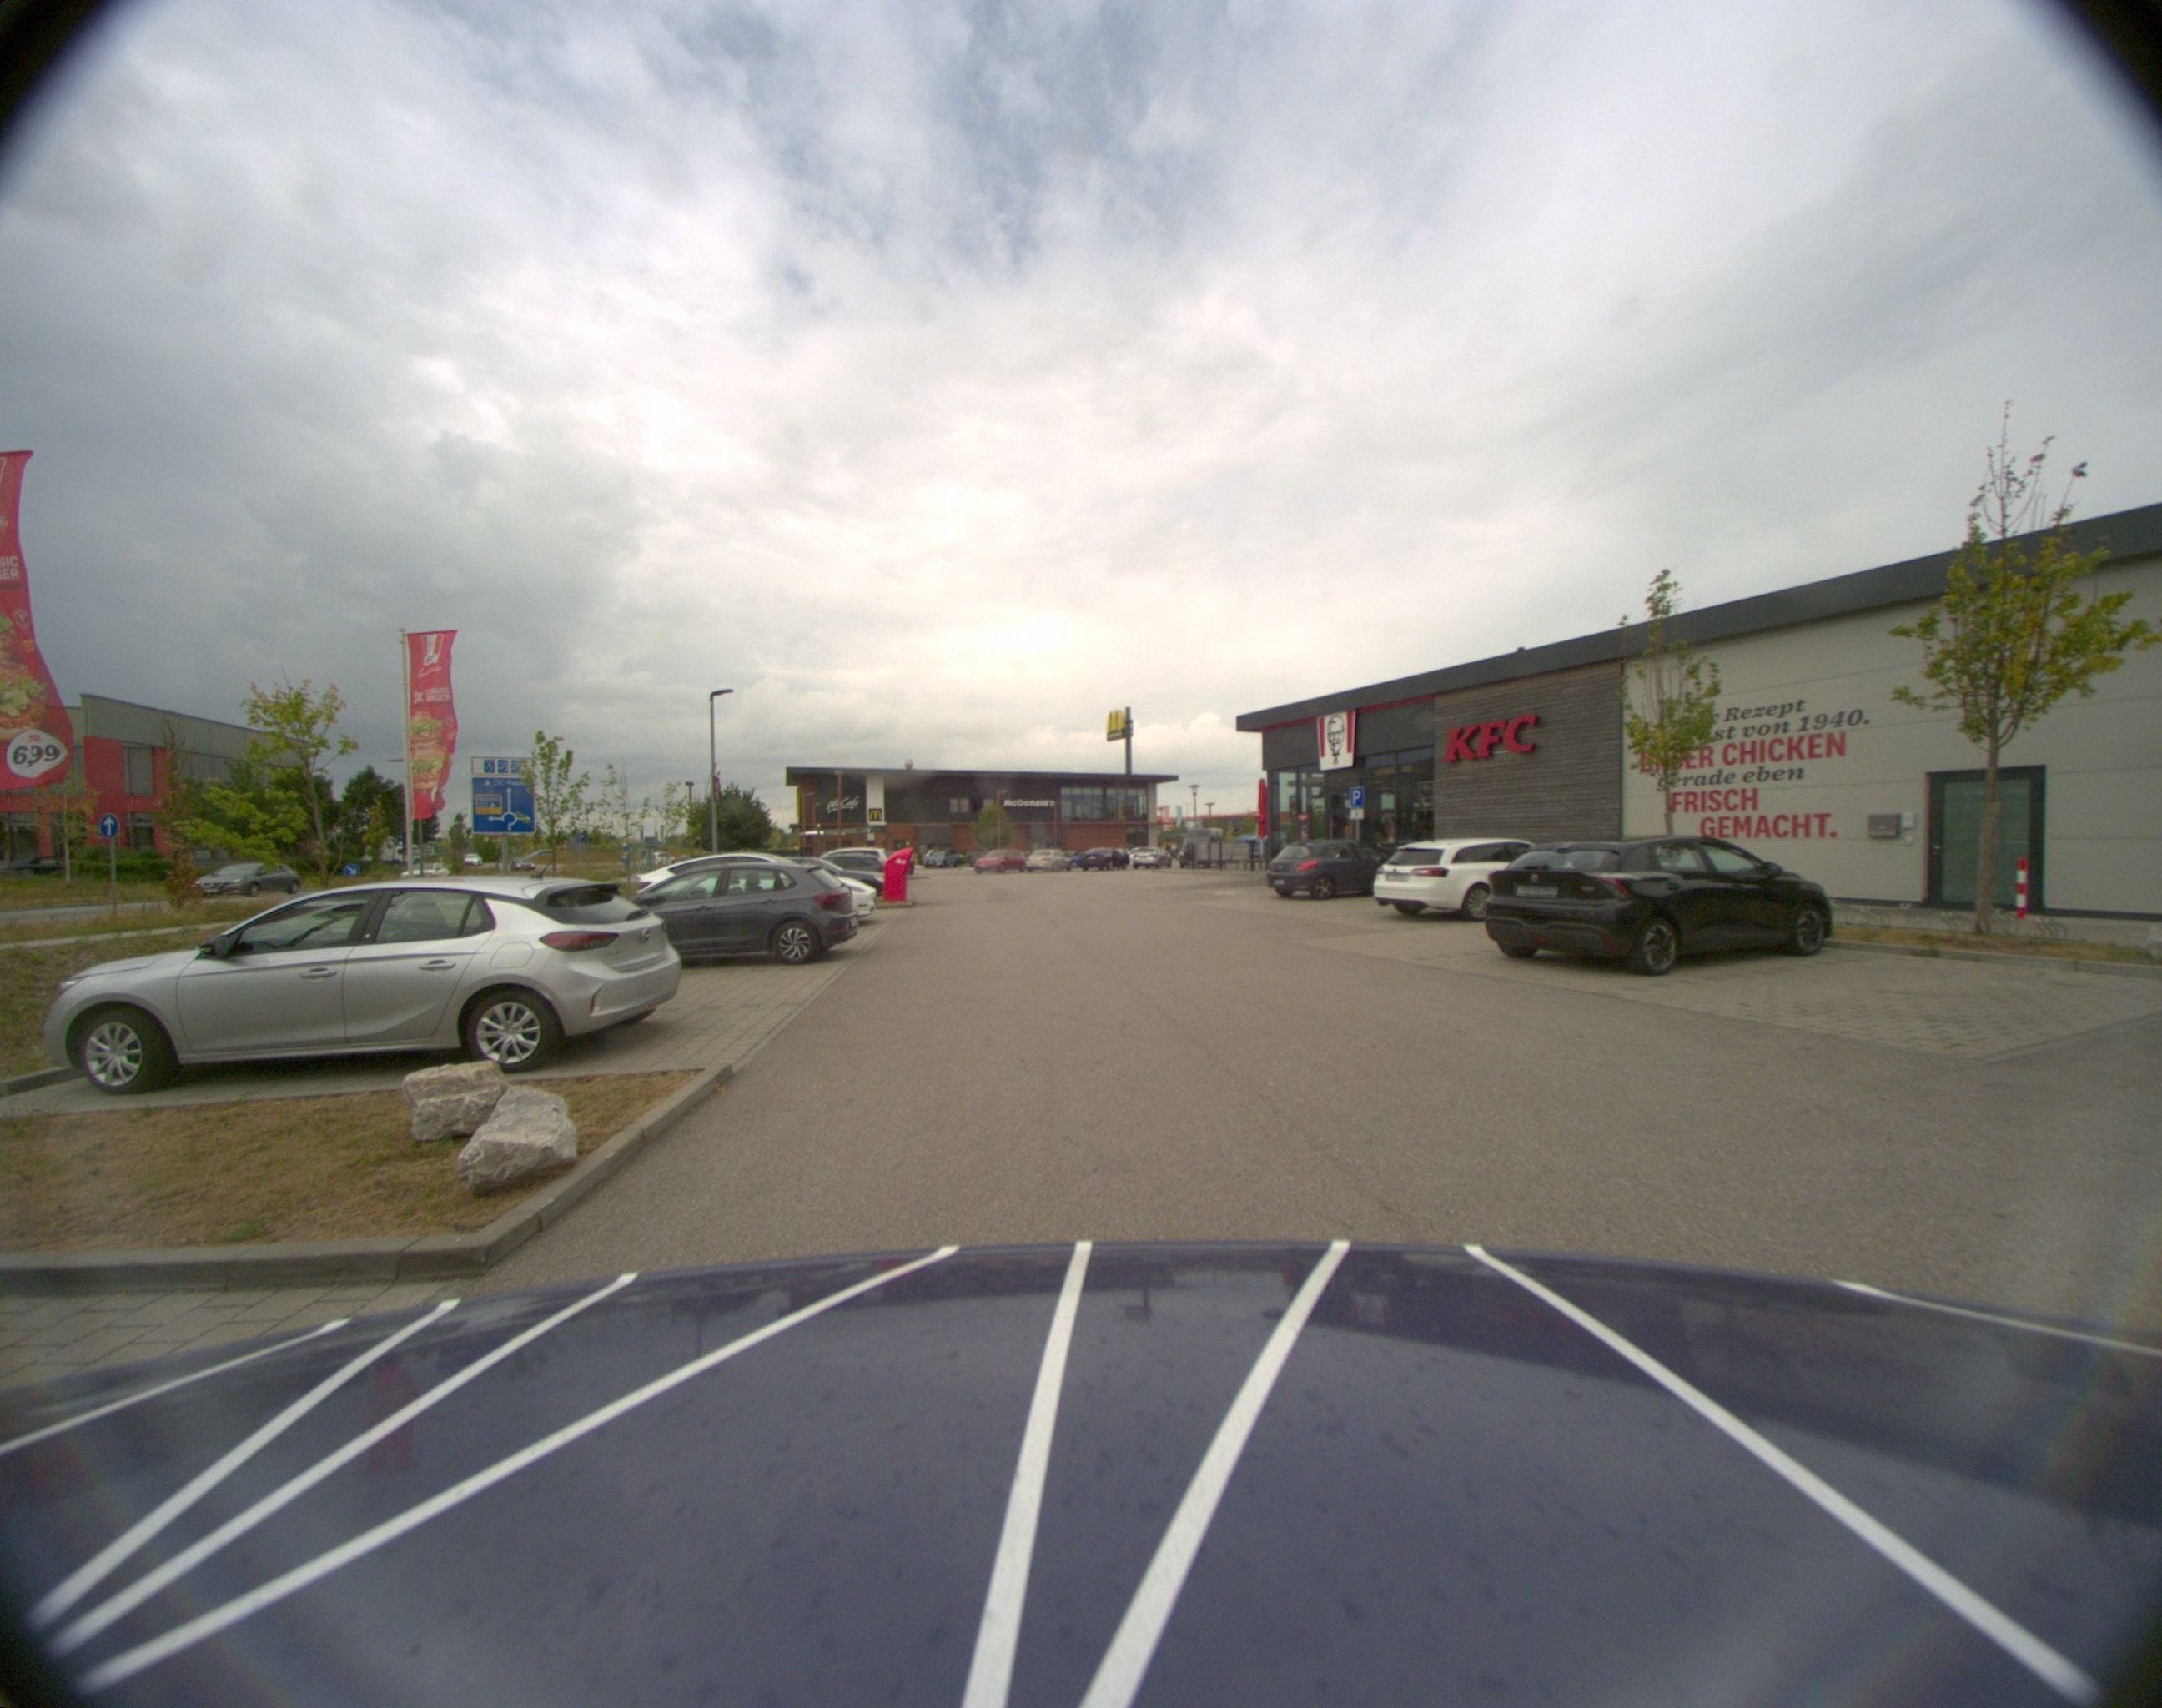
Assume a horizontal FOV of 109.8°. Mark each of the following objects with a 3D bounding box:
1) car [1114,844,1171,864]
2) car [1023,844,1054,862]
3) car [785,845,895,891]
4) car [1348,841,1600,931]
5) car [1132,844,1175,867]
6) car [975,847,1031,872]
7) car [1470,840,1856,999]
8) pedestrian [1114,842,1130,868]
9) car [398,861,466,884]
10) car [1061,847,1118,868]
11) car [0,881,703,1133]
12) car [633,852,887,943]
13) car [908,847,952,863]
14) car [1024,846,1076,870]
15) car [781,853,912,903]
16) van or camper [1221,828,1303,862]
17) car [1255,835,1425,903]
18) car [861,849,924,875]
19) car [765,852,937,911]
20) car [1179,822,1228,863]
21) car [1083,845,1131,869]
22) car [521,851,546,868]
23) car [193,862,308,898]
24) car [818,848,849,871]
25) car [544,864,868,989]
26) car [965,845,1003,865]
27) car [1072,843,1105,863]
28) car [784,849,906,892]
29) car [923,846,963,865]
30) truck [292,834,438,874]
[{"bbox_3d":[4.827,-0.005,59.728,4.102,1.458,1.783,-1,-1,19],"label":"car"},{"bbox_3d":[-4.242,-0.101,75.202,1.755,1.743,3.991,0,1,-23],"label":"car"},{"bbox_3d":[-10.443,0.556,33.126,4.375,1.703,1.989,-3,1,-17],"label":"car"},{"bbox_3d":[7.522,0.515,14.609,4.183,1.478,1.996,-1,2,-20],"label":"car"},{"bbox_3d":[4.894,0.105,50.873,1.683,1.443,4.006,-1,0,23],"label":"car"},{"bbox_3d":[-4.759,0.329,46.927,1.683,1.455,4.006,-1,0,23],"label":"car"},{"bbox_3d":[6.943,0.628,9.098,4.127,1.520,1.738,-1,2,-21],"label":"car"},{"bbox_3d":[2.638,0.052,48.924,0.747,1.668,0.844,0,1,22],"label":"pedestrian"},{"bbox_3d":[-43.851,1.224,51.420,1.756,1.482,4.125,-1,0,-13],"label":"car"},{"bbox_3d":[0.639,0.219,57.858,3.990,1.501,1.772,1,1,24],"label":"car"},{"bbox_3d":[-5.512,1.062,6.127,3.938,1.404,1.838,-3,1,-5],"label":"car"},{"bbox_3d":[-6.535,0.830,16.022,4.546,1.532,1.923,-3,1,-10],"label":"car"},{"bbox_3d":[-14.731,0.119,74.203,4.005,1.497,1.785,0,1,-22],"label":"car"},{"bbox_3d":[-1.880,0.229,47.638,1.750,1.404,4.466,-1,0,18],"label":"car"},{"bbox_3d":[-7.976,0.764,26.013,4.073,1.404,1.885,-3,1,-17],"label":"car"},{"bbox_3d":[15.671,-0.757,66.025,6.557,2.685,2.176,-2,0,27],"label":"van or camper"},{"bbox_3d":[6.757,0.338,19.872,3.943,1.478,1.755,-3,1,-20],"label":"car"},{"bbox_3d":[-11.032,0.436,44.654,1.684,1.404,3.936,-1,0,19],"label":"car"},{"bbox_3d":[-6.931,0.785,23.143,4.745,1.448,1.908,-3,1,-17],"label":"car"},{"bbox_3d":[8.319,-0.714,51.032,2.069,2.538,7.022,-1,0,19],"label":"car"},{"bbox_3d":[1.742,0.153,48.989,1.683,1.454,4.414,-1,0,21],"label":"car"},{"bbox_3d":[-58.118,0.576,80.681,2.004,1.696,3.988,-1,2,-34],"label":"car"},{"bbox_3d":[-37.729,1.142,34.655,1.756,1.482,4.123,-1,0,-19],"label":"car"},{"bbox_3d":[-19.297,0.381,59.134,1.813,1.680,4.181,0,1,-25],"label":"car"},{"bbox_3d":[-5.231,0.969,11.088,3.808,1.404,1.737,-3,1,-8],"label":"car"},{"bbox_3d":[-8.692,0.105,68.359,1.996,1.739,4.005,1,0,15],"label":"car"},{"bbox_3d":[0.750,-0.096,72.230,1.894,1.653,4.263,1,3,19],"label":"car"},{"bbox_3d":[-9.559,0.629,30.963,4.519,1.458,1.944,-3,1,-17],"label":"car"},{"bbox_3d":[-12.144,0.091,66.993,1.746,1.575,3.910,1,1,19],"label":"car"},{"bbox_3d":[-82.806,0.008,88.178,12.003,4.473,3.762,0,1,-14],"label":"truck"}]
